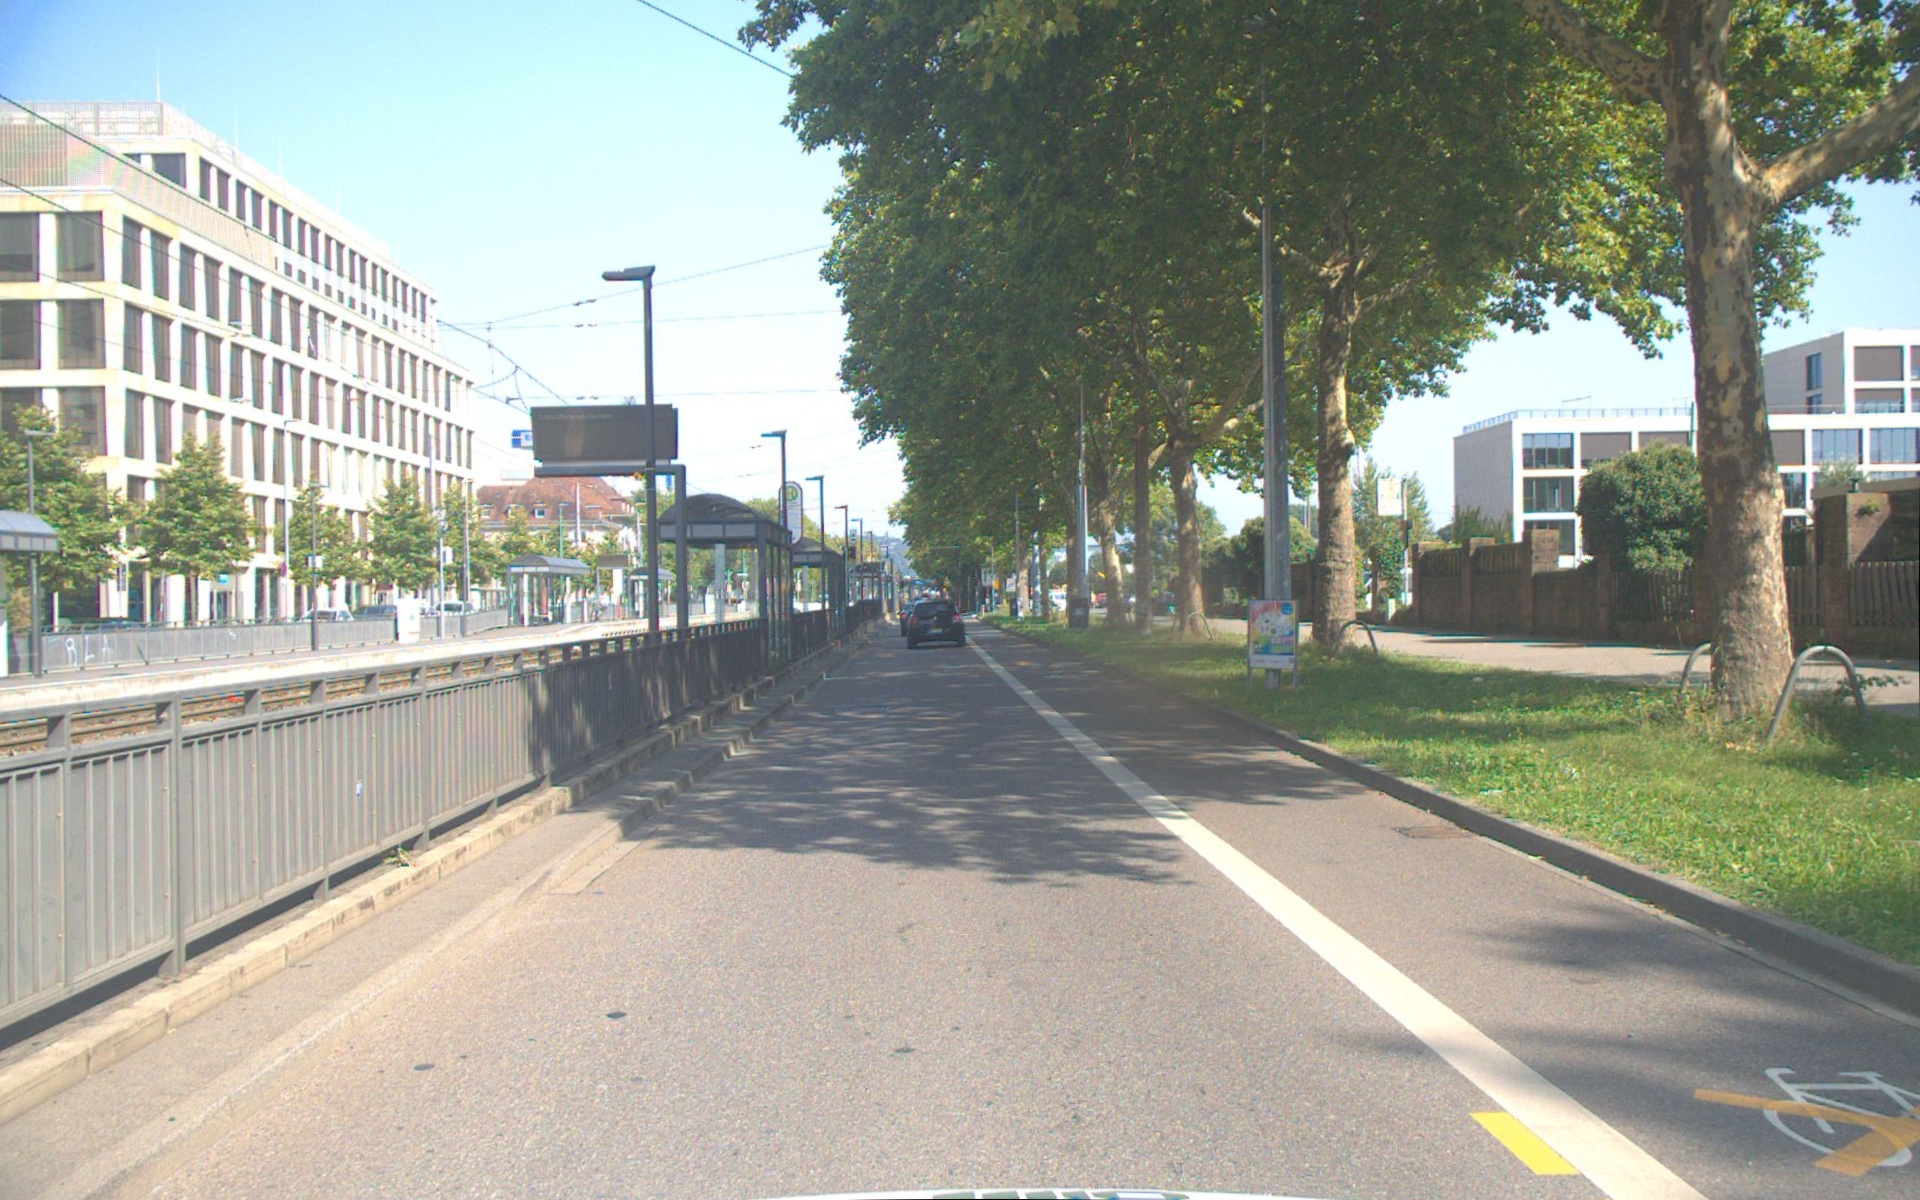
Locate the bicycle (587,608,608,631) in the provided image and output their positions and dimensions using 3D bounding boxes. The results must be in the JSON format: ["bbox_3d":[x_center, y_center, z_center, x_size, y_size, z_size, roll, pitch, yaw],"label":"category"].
[{"bbox_3d":[-19.052,1.022,86.928,0.461,1.167,1.485,-1,-1,13],"label":"bicycle"}]

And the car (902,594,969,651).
[{"bbox_3d":[-0.777,0.653,50.370,1.869,1.564,3.998,-3,0,-2],"label":"car"}]

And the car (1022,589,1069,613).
[{"bbox_3d":[7.519,0.086,145.165,4.019,1.952,1.848,-3,0,1],"label":"car"}]

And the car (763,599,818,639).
[{"bbox_3d":[-7.129,0.794,69.985,1.953,1.586,3.999,-1,0,-1],"label":"car"}]

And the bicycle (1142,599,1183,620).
[{"bbox_3d":[11.355,0.539,92.767,2.130,1.095,0.743,-2,0,-3],"label":"bicycle"}]

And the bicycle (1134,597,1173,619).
[{"bbox_3d":[11.192,0.474,95.790,2.128,1.095,0.743,-4,-1,2],"label":"bicycle"}]

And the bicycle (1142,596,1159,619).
[{"bbox_3d":[8.703,0.334,75.441,0.537,1.024,1.713,-1,0,-1],"label":"bicycle"}]

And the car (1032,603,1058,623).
[{"bbox_3d":[6.784,1.036,131.800,1.693,1.474,4.549,-2,0,-1],"label":"car"}]

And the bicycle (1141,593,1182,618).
[{"bbox_3d":[11.833,0.338,97.306,2.199,1.299,0.998,-4,-1,-2],"label":"bicycle"}]

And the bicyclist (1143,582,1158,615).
[{"bbox_3d":[8.697,-0.059,75.354,0.537,1.478,0.842,-1,0,-1],"label":"bicyclist"}]

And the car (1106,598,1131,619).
[{"bbox_3d":[12.730,0.709,133.149,1.575,1.603,3.795,-2,0,-1],"label":"car"}]

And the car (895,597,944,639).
[{"bbox_3d":[-1.751,0.767,70.375,1.934,1.564,3.998,-5,0,-2],"label":"car"}]

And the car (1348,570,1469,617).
[{"bbox_3d":[18.559,-0.252,68.520,4.432,1.764,1.908,-2,0,-4],"label":"car"}]
